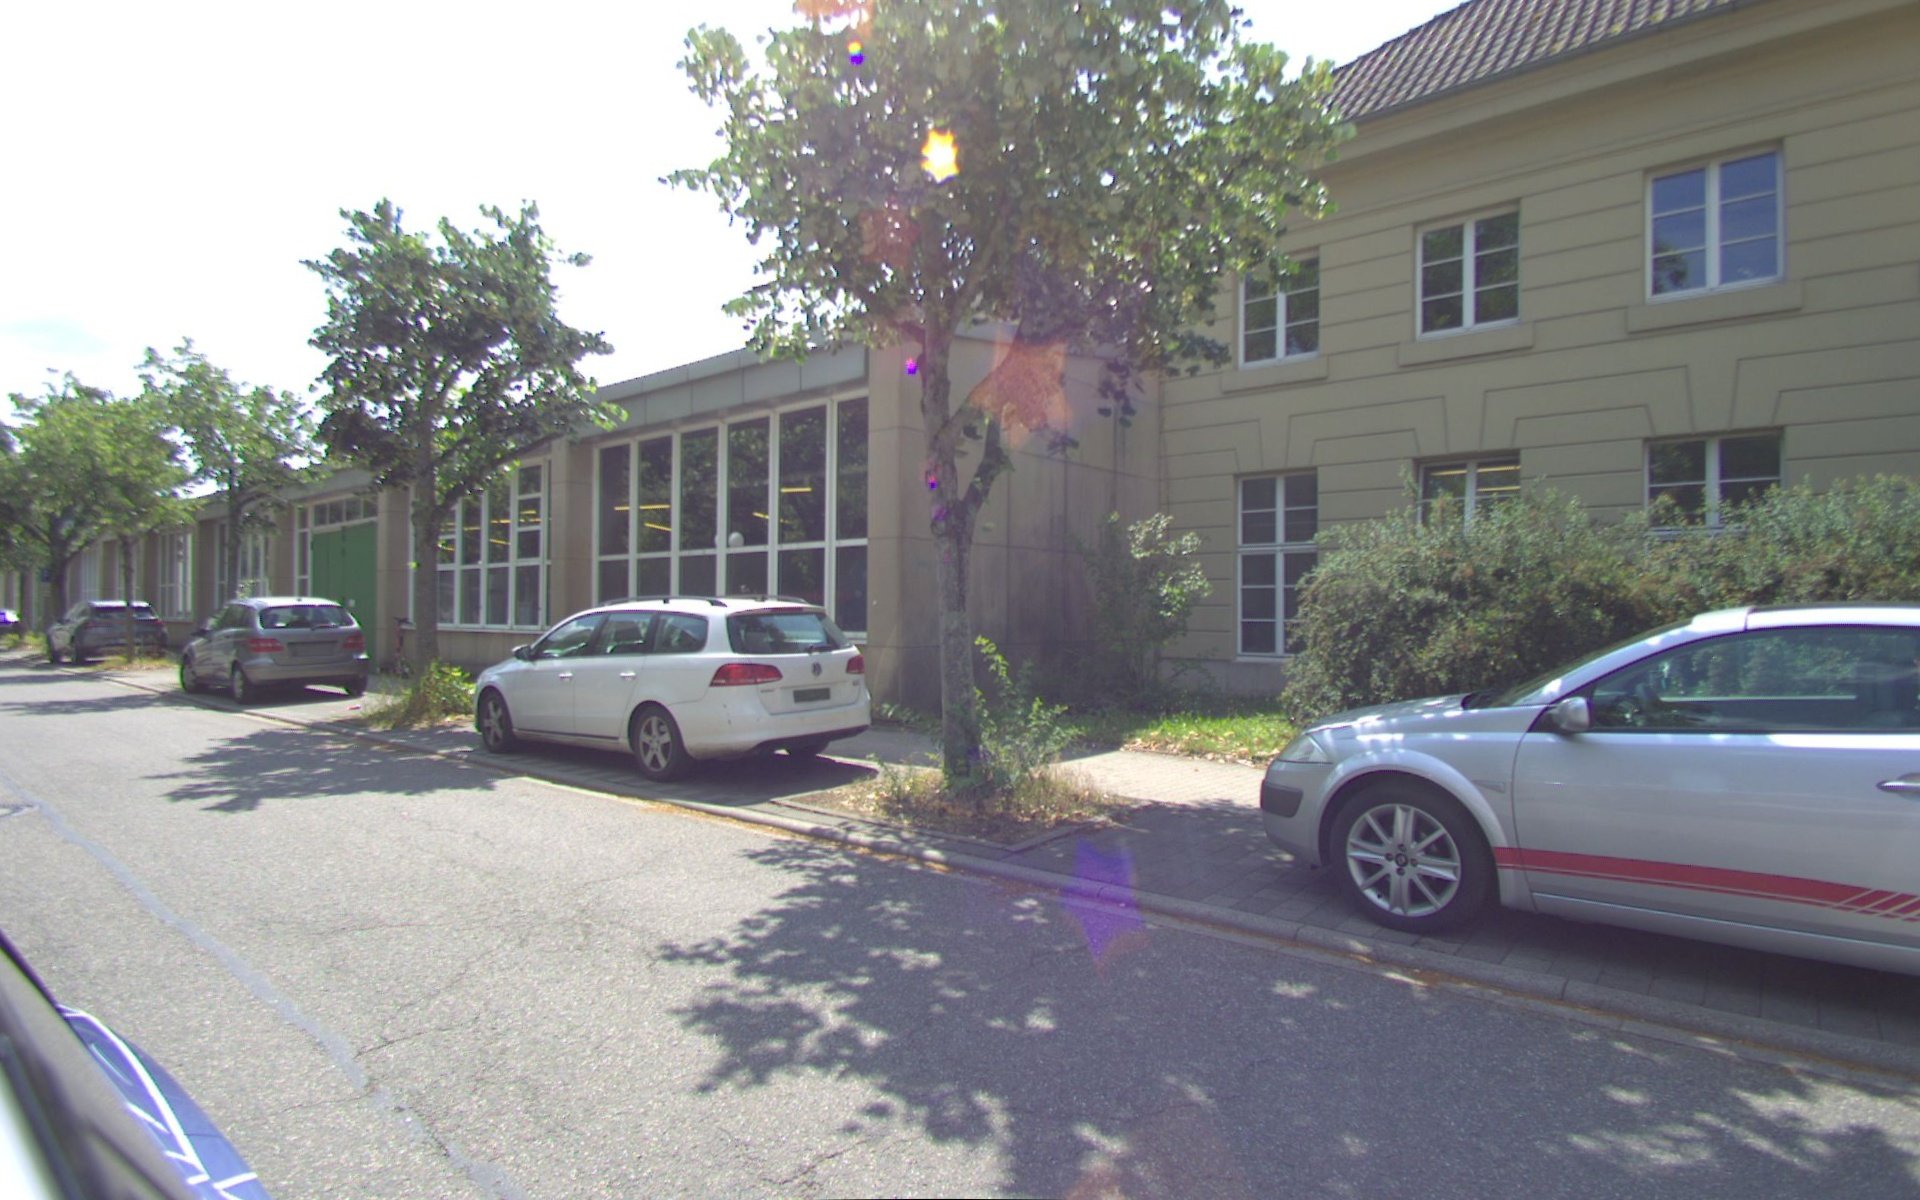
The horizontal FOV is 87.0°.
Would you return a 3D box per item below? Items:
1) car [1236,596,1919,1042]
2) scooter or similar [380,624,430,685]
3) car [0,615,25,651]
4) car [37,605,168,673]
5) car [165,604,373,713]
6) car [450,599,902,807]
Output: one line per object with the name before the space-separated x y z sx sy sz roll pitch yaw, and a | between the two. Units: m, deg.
car | 3.387 0.679 3.905 4.165 1.354 1.707 -1 0 42
scooter or similar | -11.303 1.091 20.597 1.215 1.178 0.500 -1 0 41
car | -40.851 1.400 42.572 4.286 1.446 1.708 -2 0 40
car | -23.023 0.980 27.120 4.511 1.644 1.804 0 1 38
car | -11.540 0.870 16.812 4.109 1.568 1.740 0 1 39
car | -2.807 0.751 9.390 4.578 1.467 1.708 0 1 39
